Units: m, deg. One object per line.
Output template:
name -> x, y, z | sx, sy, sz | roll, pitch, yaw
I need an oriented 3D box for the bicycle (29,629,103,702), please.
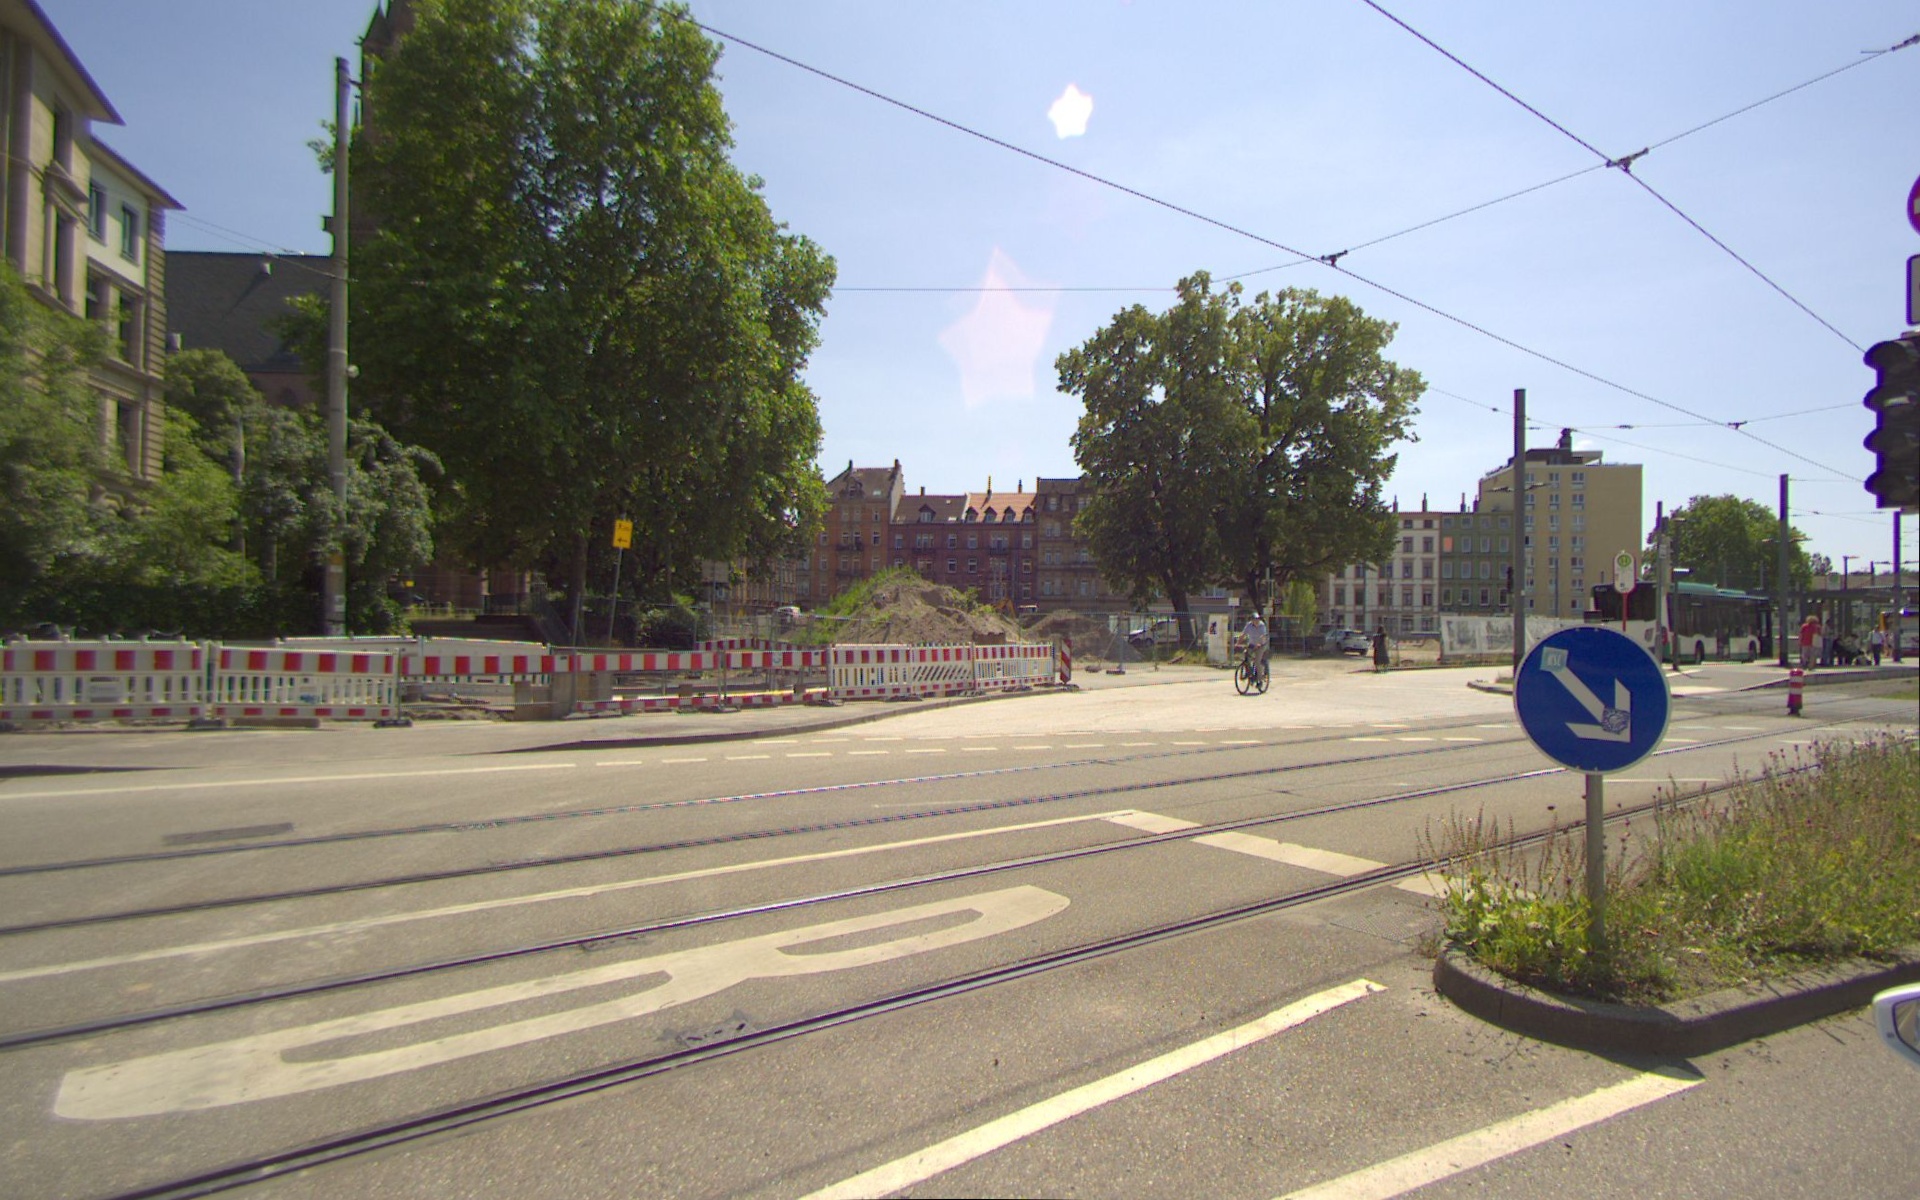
bicycle -> -14.580, 1.038, 16.415 | 0.498, 1.117, 1.725 | 1, -1, -28

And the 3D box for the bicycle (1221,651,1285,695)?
bicycle -> 6.836, 1.672, 23.381 | 0.497, 0.926, 2.359 | 0, -2, 41

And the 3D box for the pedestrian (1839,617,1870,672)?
pedestrian -> 35.209, 1.730, 39.520 | 0.889, 2.124, 0.827 | -1, -2, 43

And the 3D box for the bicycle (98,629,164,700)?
bicycle -> -13.863, 1.046, 16.823 | 0.498, 1.117, 1.725 | 1, -1, -28

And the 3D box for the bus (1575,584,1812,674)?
bus -> 31.246, 1.262, 42.141 | 17.330, 3.199, 2.989 | 2, -2, -36

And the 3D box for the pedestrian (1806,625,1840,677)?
pedestrian -> 32.196, 1.894, 37.473 | 0.902, 1.876, 0.654 | -1, -2, 44

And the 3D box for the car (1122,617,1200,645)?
car -> 13.982, 2.174, 70.047 | 4.956, 1.909, 2.111 | 1, -2, -17

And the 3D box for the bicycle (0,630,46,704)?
bicycle -> -15.225, 1.040, 16.042 | 0.498, 1.117, 1.725 | 1, -1, -28

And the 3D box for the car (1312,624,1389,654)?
car -> 23.106, 2.280, 59.581 | 1.826, 1.671, 4.172 | 1, -2, -24

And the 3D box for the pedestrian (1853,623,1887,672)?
pedestrian -> 39.851, 2.067, 43.998 | 0.822, 2.124, 0.894 | 1, -2, -31

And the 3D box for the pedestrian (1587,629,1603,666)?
pedestrian -> 29.538, 2.195, 46.701 | 0.395, 1.728, 0.561 | 1, -1, -43

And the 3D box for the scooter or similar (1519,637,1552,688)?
scooter or similar -> 14.085, 1.511, 24.569 | 1.239, 1.222, 0.316 | 2, -2, -42

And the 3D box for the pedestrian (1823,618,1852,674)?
pedestrian -> 34.209, 1.787, 39.161 | 0.815, 2.124, 0.638 | -1, -2, 43

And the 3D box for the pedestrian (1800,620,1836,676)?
pedestrian -> 31.254, 1.735, 36.590 | 0.932, 2.016, 1.022 | -1, -2, 44

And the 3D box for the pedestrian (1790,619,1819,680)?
pedestrian -> 27.173, 1.589, 32.306 | 0.665, 1.934, 0.637 | -1, -2, 44

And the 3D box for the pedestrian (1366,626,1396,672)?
pedestrian -> 14.977, 1.728, 35.750 | 0.815, 1.623, 0.604 | 1, -1, -26

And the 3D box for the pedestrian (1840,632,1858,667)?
pedestrian -> 53.910, 2.990, 60.915 | 0.694, 2.139, 0.656 | 0, -1, 30

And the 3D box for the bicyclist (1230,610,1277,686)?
bicyclist -> 6.825, 1.111, 23.377 | 0.811, 1.732, 0.766 | 0, -1, 41
